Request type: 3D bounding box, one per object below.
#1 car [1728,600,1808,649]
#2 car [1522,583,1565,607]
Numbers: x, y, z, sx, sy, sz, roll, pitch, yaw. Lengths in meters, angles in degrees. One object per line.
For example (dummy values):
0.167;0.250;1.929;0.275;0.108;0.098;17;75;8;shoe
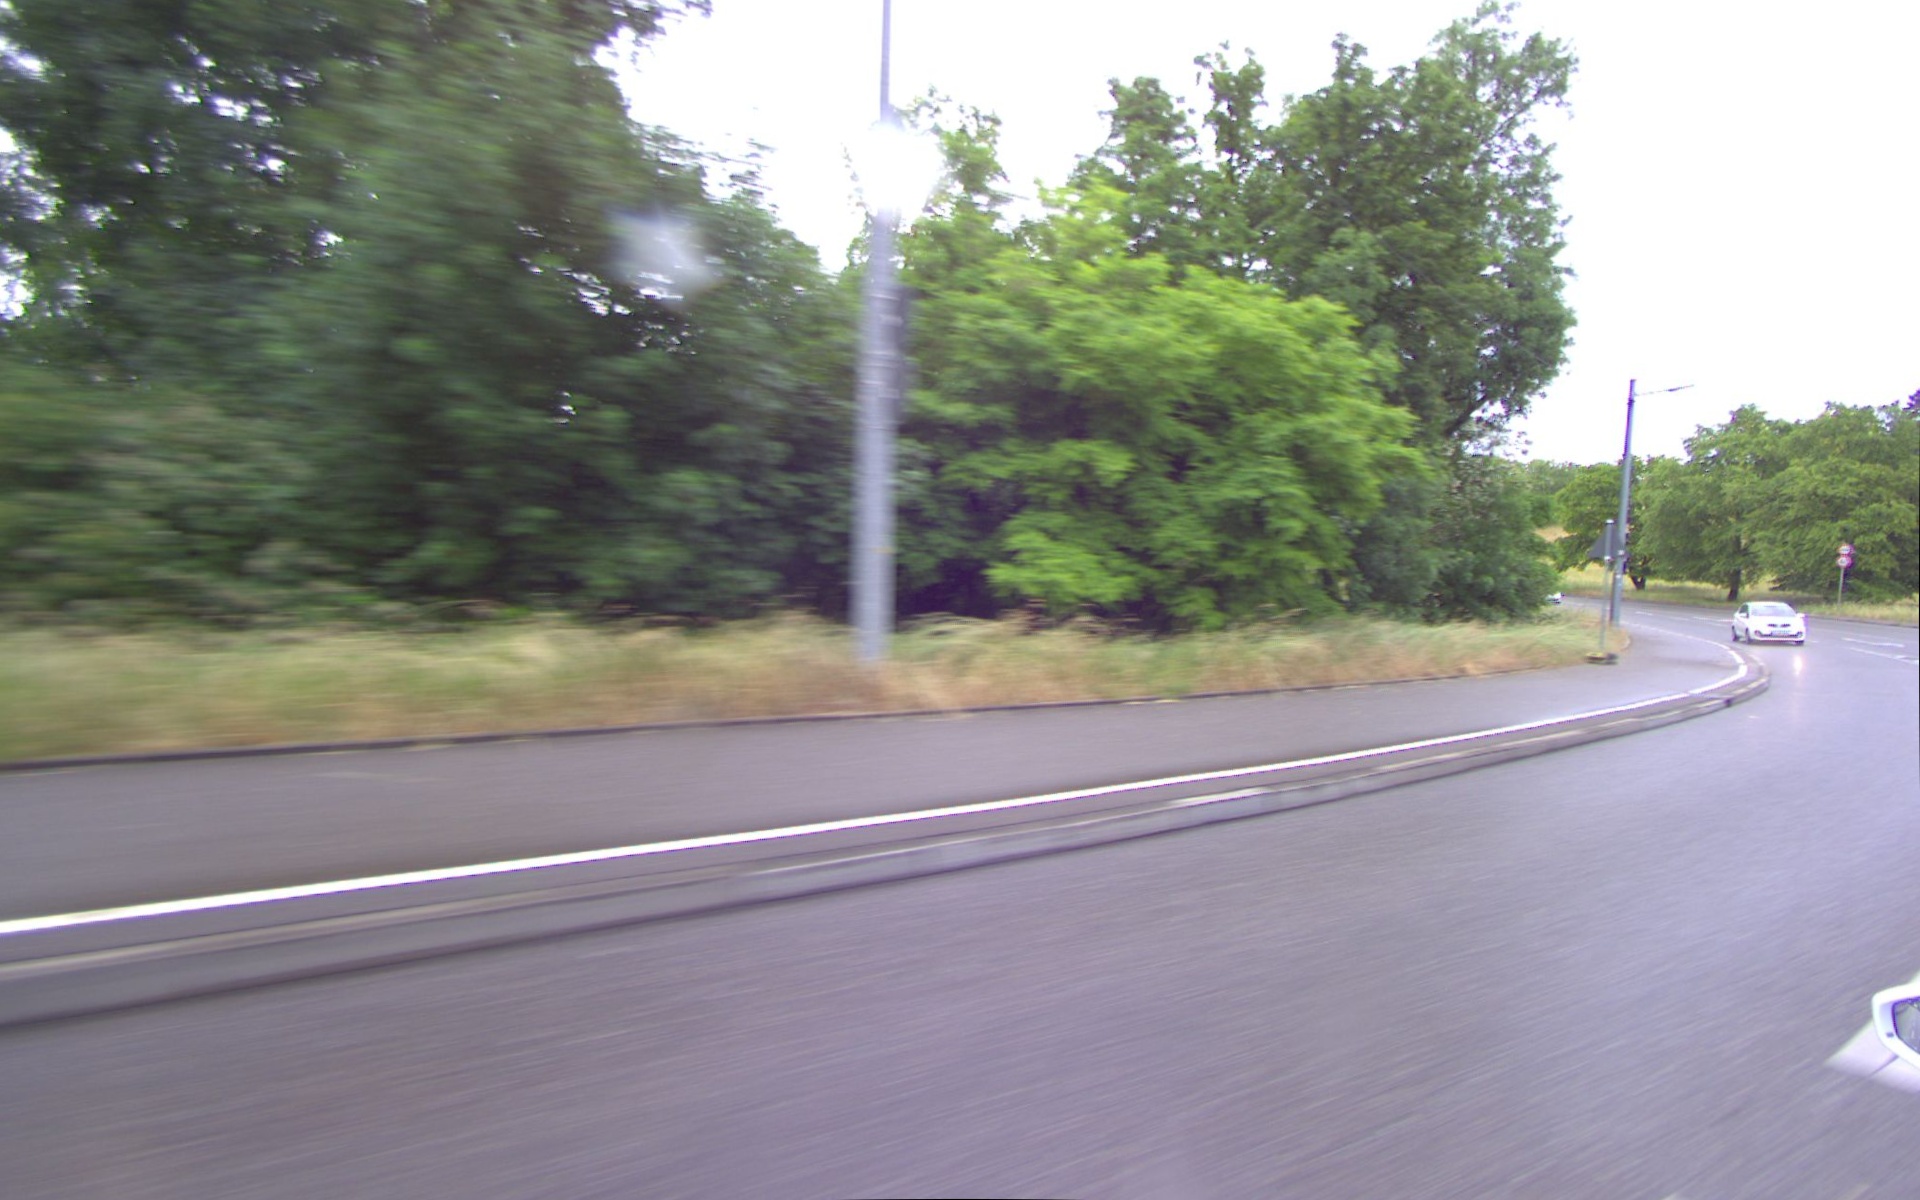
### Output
29.574;0.863;36.875;1.768;1.506;3.990;-1;2;32;car
42.640;-0.419;73.475;1.784;1.617;4.000;1;2;17;car
